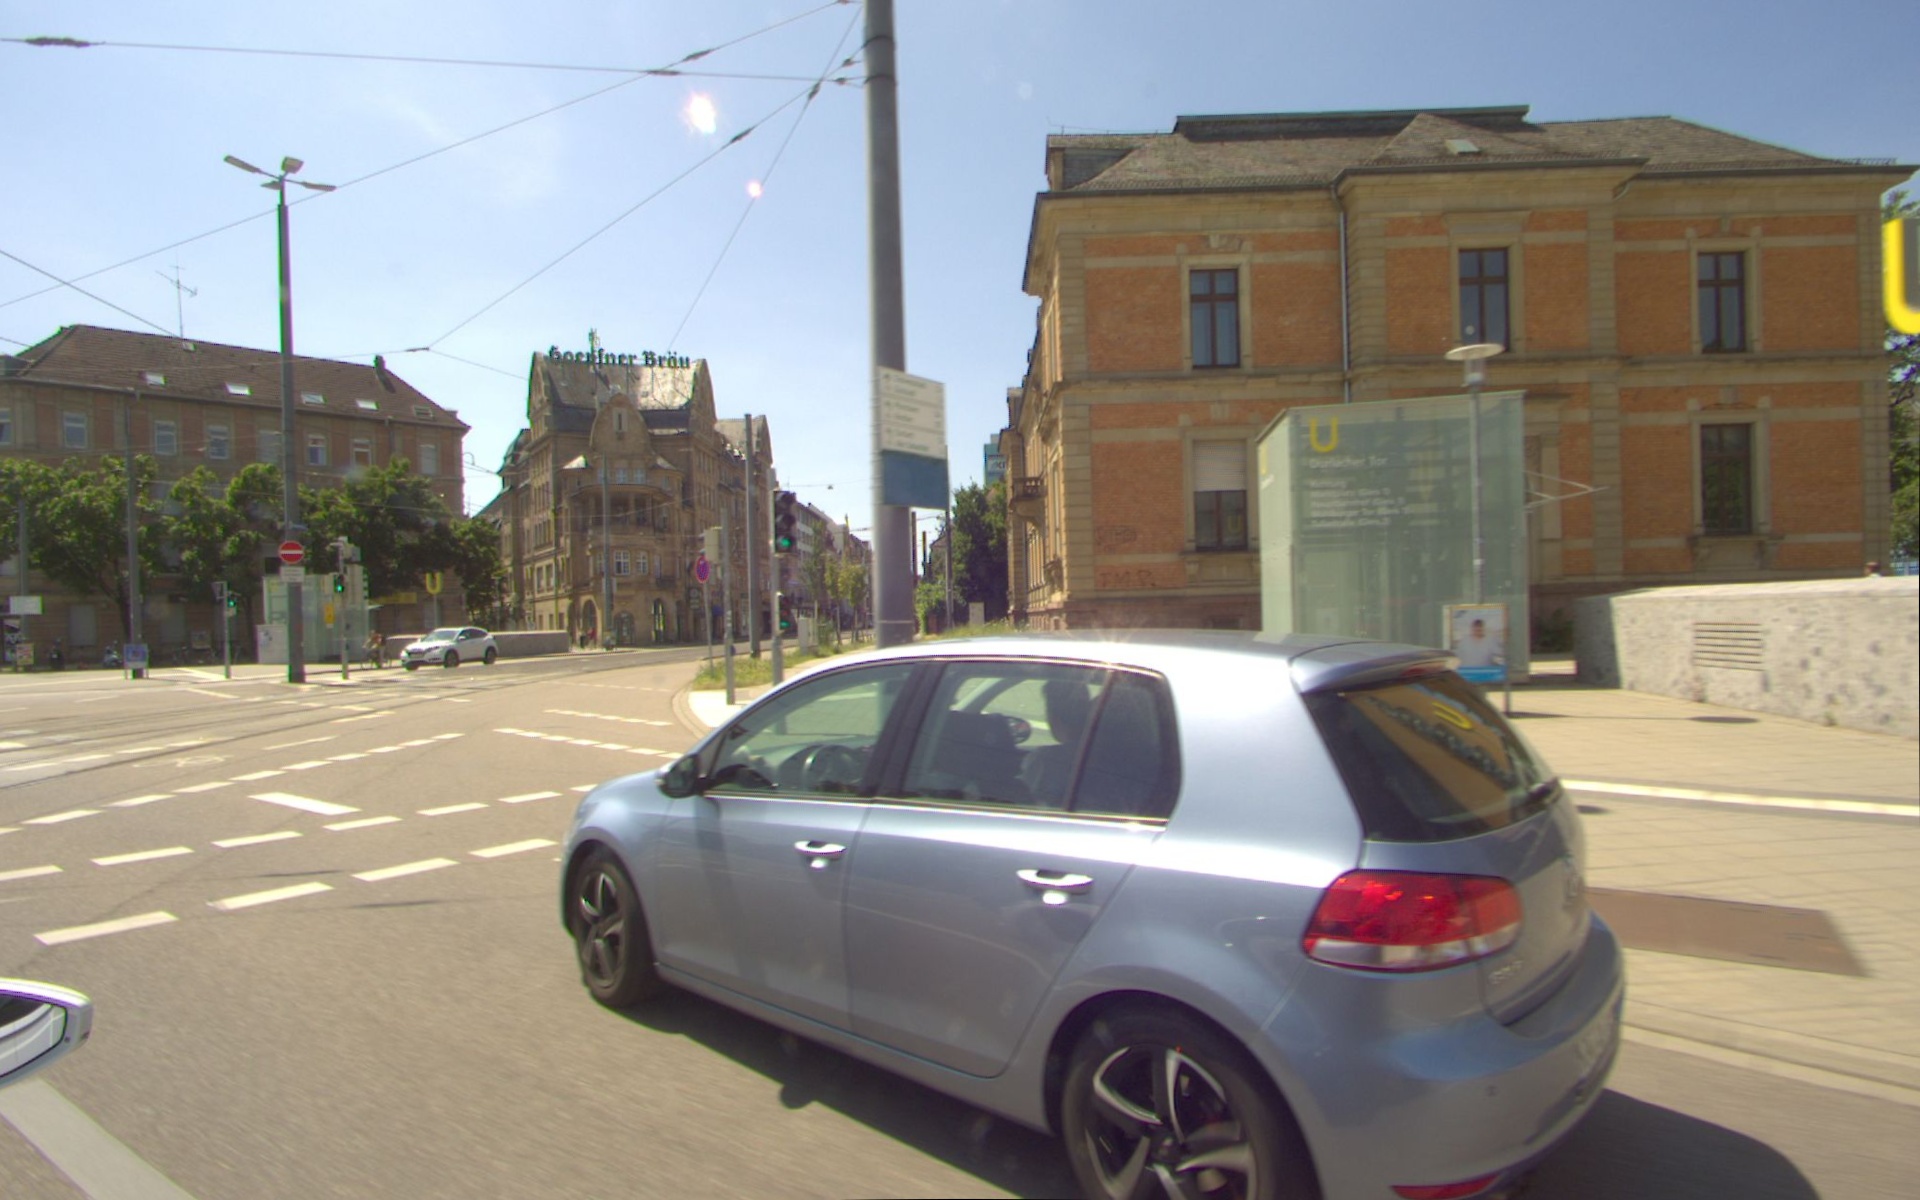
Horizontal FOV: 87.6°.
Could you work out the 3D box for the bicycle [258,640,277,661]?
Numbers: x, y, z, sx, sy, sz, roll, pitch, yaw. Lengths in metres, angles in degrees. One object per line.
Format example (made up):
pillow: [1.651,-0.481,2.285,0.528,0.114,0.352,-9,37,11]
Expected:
bicycle: [-37.829,2.754,54.686,0.547,1.134,1.803,-1,-1,-43]

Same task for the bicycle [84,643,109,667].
bicycle: [-42.073,2.683,48.797,1.797,1.134,0.549,-2,-1,37]

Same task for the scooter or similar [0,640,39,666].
scooter or similar: [-45.606,2.558,48.395,0.588,1.196,1.792,-1,-1,-2]

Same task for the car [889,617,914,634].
car: [-5.704,2.543,98.489,1.961,1.471,4.003,-1,-3,4]

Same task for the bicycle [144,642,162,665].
bicycle: [-40.693,2.701,50.488,0.547,1.134,1.803,-1,-1,-43]

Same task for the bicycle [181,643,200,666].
bicycle: [-39.619,2.782,51.549,0.547,1.134,1.871,-1,-1,-43]

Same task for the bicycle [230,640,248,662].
bicycle: [-38.770,2.730,53.831,0.547,1.134,1.911,-1,-1,-43]

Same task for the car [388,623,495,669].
car: [-20.121,1.744,39.070,1.662,1.626,4.193,-1,-1,6]

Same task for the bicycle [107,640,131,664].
bicycle: [-41.686,2.581,49.635,2.068,1.160,0.441,-3,-3,37]

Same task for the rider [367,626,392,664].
rider: [-25.283,1.969,43.628,0.553,1.622,0.875,-1,0,-2]

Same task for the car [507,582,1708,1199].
car: [0.117,0.804,3.552,3.958,1.477,1.644,-3,-3,41]

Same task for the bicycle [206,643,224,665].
bicycle: [-39.392,2.857,52.958,0.547,1.134,1.853,-1,-1,-43]

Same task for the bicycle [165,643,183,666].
bicycle: [-40.072,2.763,51.025,0.547,1.134,1.803,-1,-1,-43]

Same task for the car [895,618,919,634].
car: [-5.475,2.670,103.389,1.961,1.471,4.003,-1,-3,4]

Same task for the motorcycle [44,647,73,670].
motorcycle: [-42.884,2.772,47.633,1.920,1.088,0.578,-2,-1,34]
